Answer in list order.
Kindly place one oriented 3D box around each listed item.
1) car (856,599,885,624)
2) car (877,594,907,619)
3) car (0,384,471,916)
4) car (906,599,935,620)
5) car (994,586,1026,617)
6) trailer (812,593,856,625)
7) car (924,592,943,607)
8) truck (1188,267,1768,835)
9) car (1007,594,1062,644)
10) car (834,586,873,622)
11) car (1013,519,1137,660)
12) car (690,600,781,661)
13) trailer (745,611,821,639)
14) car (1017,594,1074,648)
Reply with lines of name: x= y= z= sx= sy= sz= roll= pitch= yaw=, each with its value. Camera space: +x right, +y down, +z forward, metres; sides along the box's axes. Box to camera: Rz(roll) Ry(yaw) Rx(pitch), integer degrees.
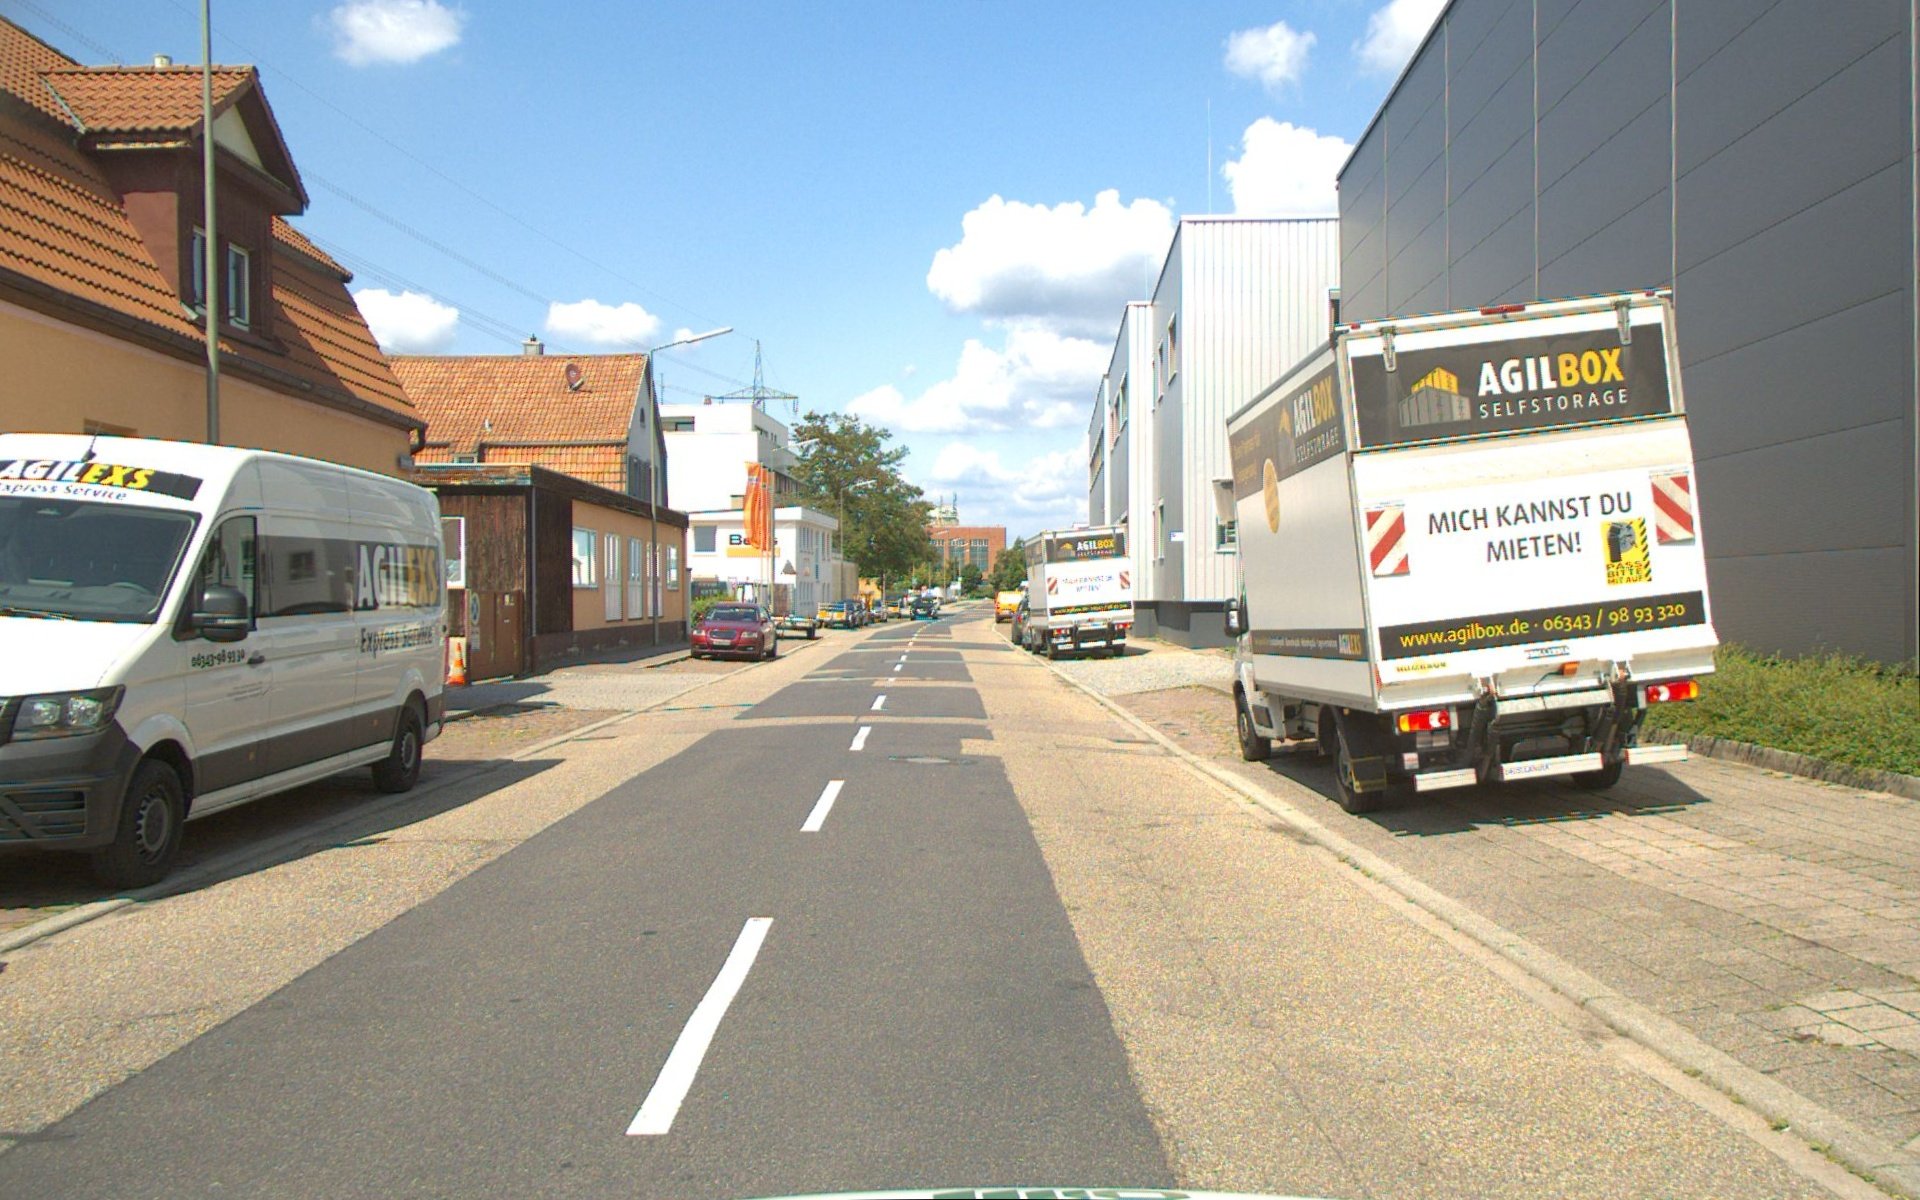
car: x=-5.655 y=0.729 z=104.386 sx=1.634 sy=1.473 sz=3.453 roll=1 pitch=0 yaw=0
car: x=-5.011 y=0.470 z=122.198 sx=1.882 sy=1.825 sz=4.001 roll=1 pitch=0 yaw=2
car: x=-5.351 y=0.241 z=11.516 sx=1.986 sy=2.606 sz=6.837 roll=1 pitch=0 yaw=-2
car: x=-2.646 y=0.614 z=110.190 sx=1.879 sy=1.307 sz=3.614 roll=-1 pitch=0 yaw=-1
car: x=3.011 y=0.096 z=99.537 sx=1.899 sy=1.772 sz=4.377 roll=-1 pitch=0 yaw=2
trailer: x=-6.313 y=0.427 z=83.430 sx=1.953 sy=1.584 sz=4.253 roll=0 pitch=0 yaw=-1
car: x=-2.786 y=-0.067 z=176.546 sx=1.772 sy=1.591 sz=4.001 roll=1 pitch=0 yaw=3
truck: x=3.722 y=-0.312 z=13.789 sx=2.409 sy=3.350 sz=6.817 roll=-5 pitch=0 yaw=0
car: x=2.552 y=0.647 z=57.386 sx=1.732 sy=1.640 sz=3.873 roll=-1 pitch=0 yaw=0
car: x=-6.329 y=0.238 z=98.868 sx=1.952 sy=2.049 sz=4.001 roll=1 pitch=0 yaw=2
car: x=2.999 y=-0.257 z=44.922 sx=2.341 sy=3.421 sz=6.640 roll=-3 pitch=0 yaw=-4
car: x=-5.826 y=0.771 z=43.435 sx=1.726 sy=1.473 sz=4.740 roll=1 pitch=0 yaw=0
trailer: x=-6.608 y=0.915 z=62.265 sx=2.314 sy=0.908 sz=5.568 roll=1 pitch=0 yaw=-1
car: x=2.663 y=0.623 z=52.124 sx=1.535 sy=1.601 sz=4.069 roll=-1 pitch=0 yaw=0
